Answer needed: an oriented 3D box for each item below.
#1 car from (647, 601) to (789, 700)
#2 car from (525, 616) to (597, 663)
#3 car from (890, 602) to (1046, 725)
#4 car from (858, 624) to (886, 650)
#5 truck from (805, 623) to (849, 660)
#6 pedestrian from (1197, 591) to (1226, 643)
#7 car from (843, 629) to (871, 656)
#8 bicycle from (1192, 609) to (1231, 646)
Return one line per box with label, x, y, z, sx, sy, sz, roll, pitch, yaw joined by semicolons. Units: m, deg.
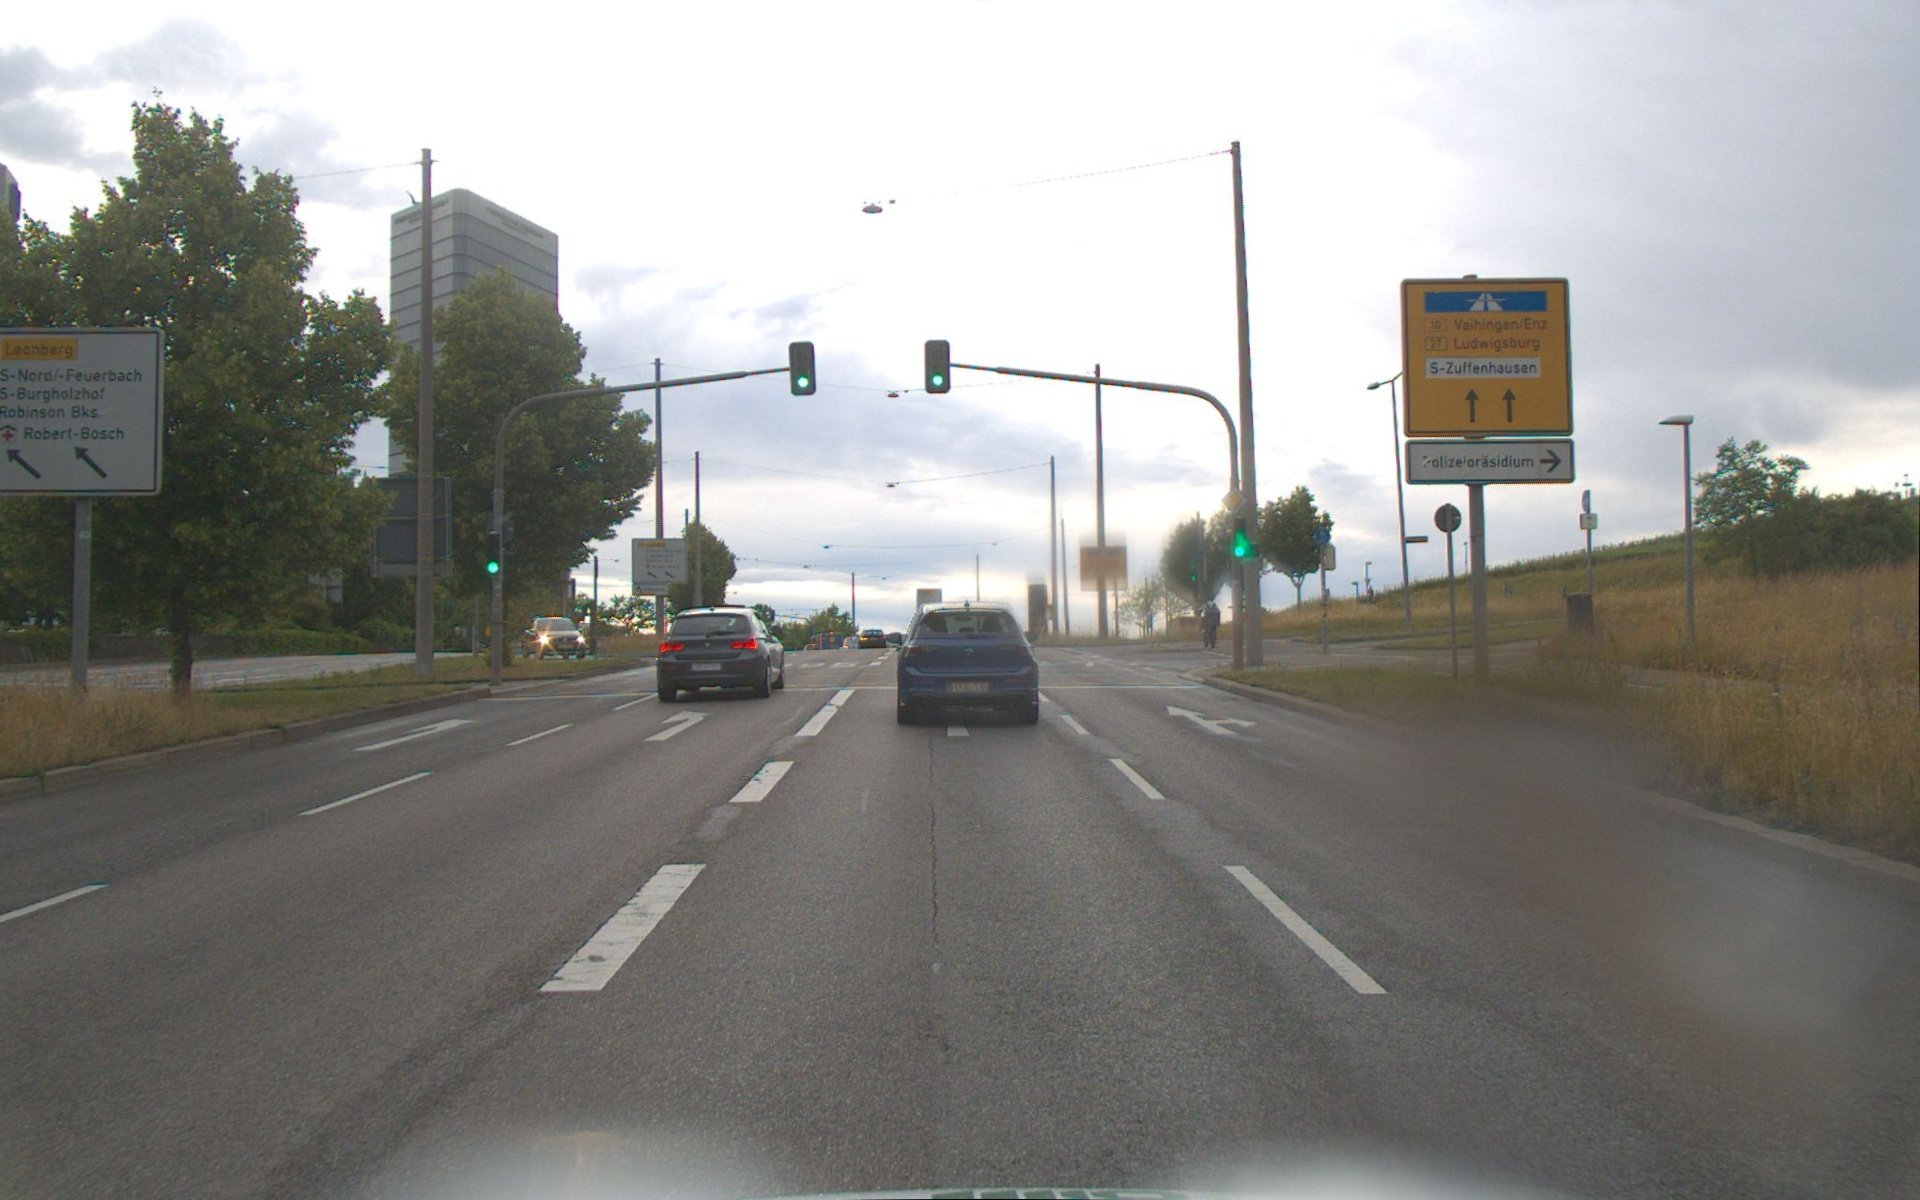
car;-3.889;0.785;27.156;1.831;1.487;3.975;0;-1;-2
car;-14.091;1.364;58.208;1.864;1.533;3.972;-1;0;-23
car;0.091;0.748;21.214;1.800;1.418;4.000;0;0;0
car;-5.628;2.318;105.618;1.687;1.568;3.702;2;-1;-2
truck;-12.546;3.968;155.556;2.625;3.277;6.513;1;-3;-18
pedestrian;7.998;0.525;52.549;0.621;1.598;0.893;-2;1;-11
car;-8.693;3.580;139.187;1.869;2.008;5.081;-1;-3;-8
bicycle;7.997;0.870;52.686;0.621;1.124;1.748;-4;1;-11
